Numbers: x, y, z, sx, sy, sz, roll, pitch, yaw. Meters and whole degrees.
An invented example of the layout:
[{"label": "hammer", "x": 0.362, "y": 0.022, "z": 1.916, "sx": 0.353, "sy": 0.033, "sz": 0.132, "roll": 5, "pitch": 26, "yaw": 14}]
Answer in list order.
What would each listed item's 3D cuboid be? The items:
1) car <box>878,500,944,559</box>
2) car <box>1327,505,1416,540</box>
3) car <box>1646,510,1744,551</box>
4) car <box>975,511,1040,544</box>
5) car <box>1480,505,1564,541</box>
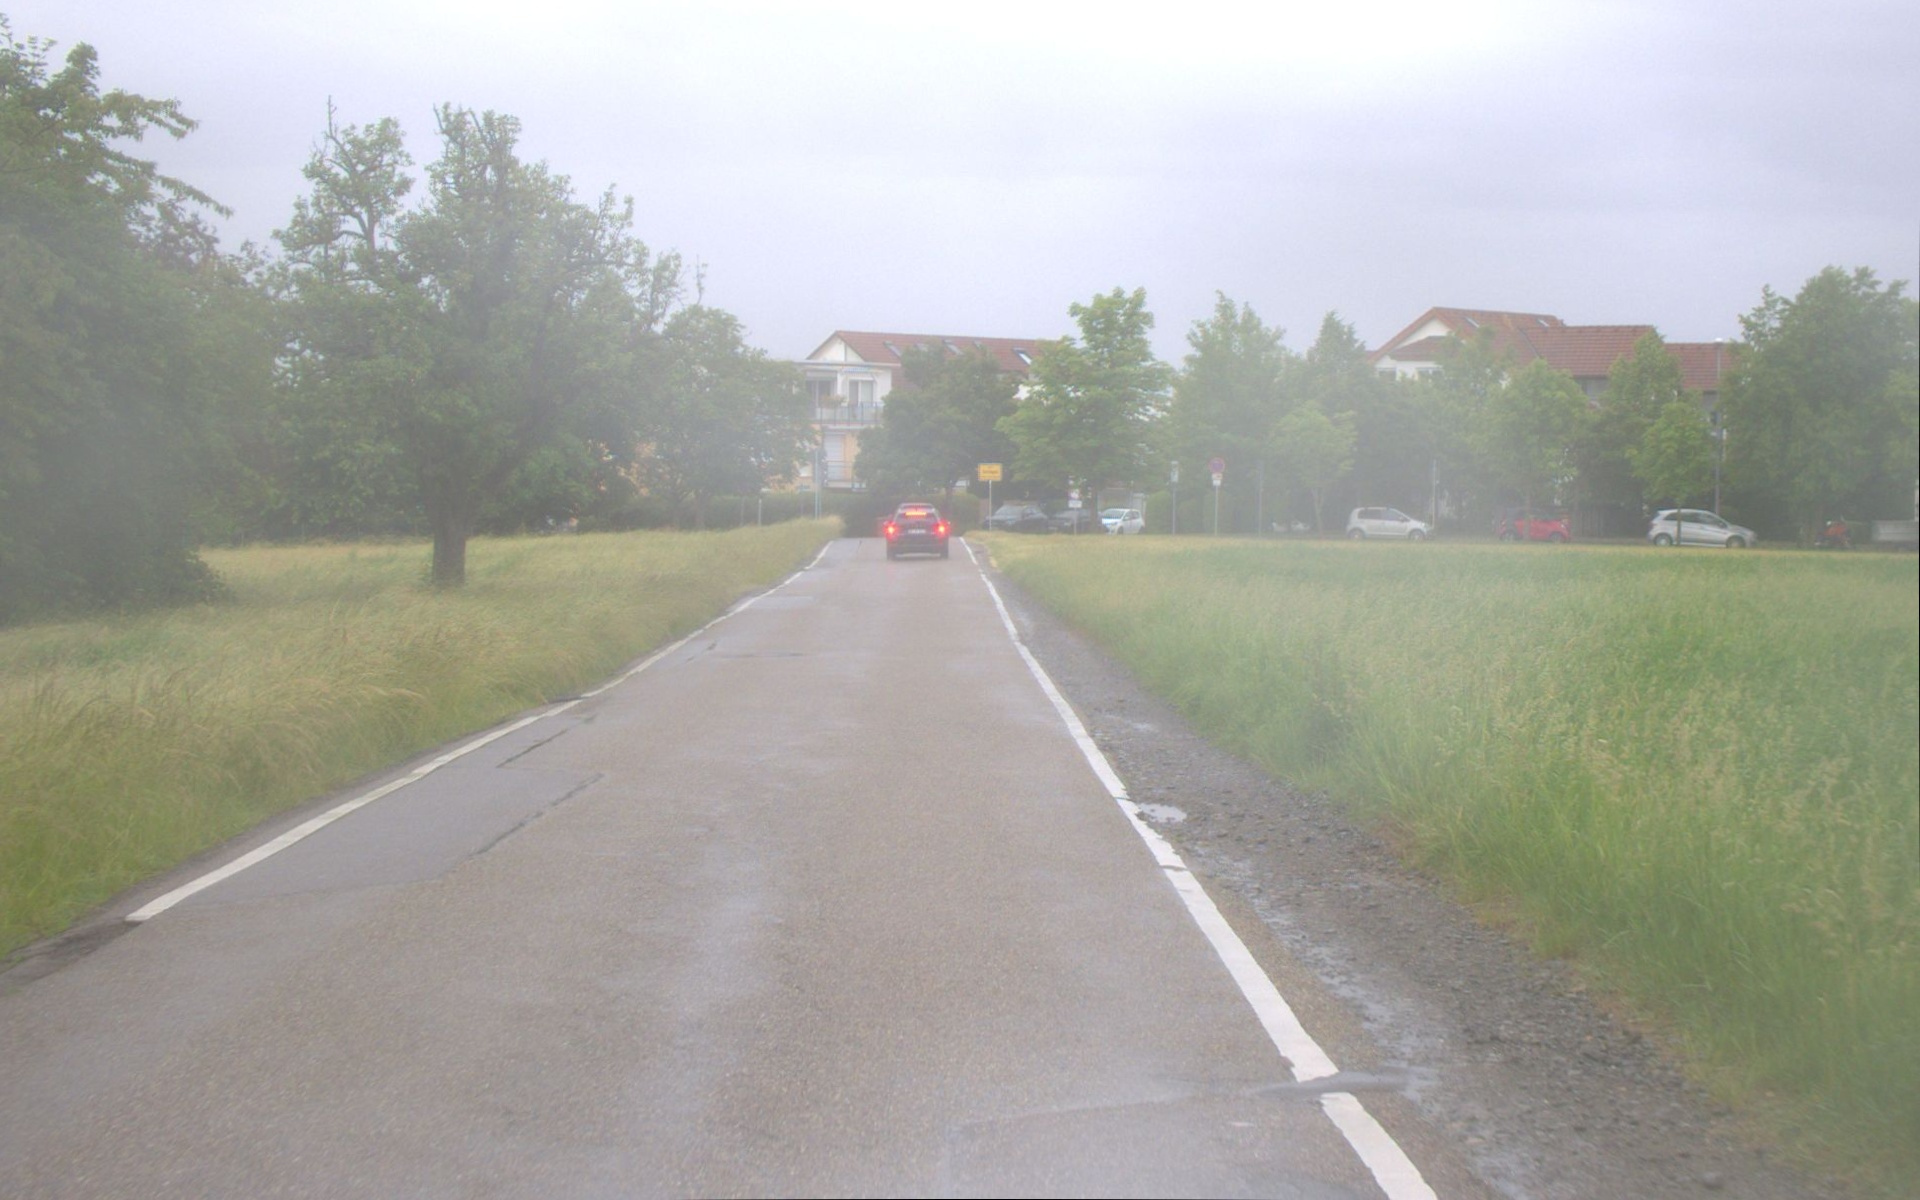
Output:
[{"label": "car", "x": -1.396, "y": -2.019, "z": 99.128, "sx": 1.814, "sy": 1.588, "sz": 4.000, "roll": 0, "pitch": 0, "yaw": 1}, {"label": "car", "x": 16.447, "y": -3.085, "z": 137.276, "sx": 3.392, "sy": 1.366, "sz": 1.547, "roll": 0, "pitch": 0, "yaw": 13}, {"label": "car", "x": 28.672, "y": -2.723, "z": 134.070, "sx": 3.711, "sy": 1.558, "sz": 1.609, "roll": 0, "pitch": 0, "yaw": 13}, {"label": "car", "x": 2.302, "y": -3.488, "z": 166.177, "sx": 1.663, "sy": 1.541, "sz": 3.995, "roll": 0, "pitch": 0, "yaw": 24}, {"label": "car", "x": 22.198, "y": -3.045, "z": 135.753, "sx": 3.194, "sy": 1.366, "sz": 1.571, "roll": 0, "pitch": 0, "yaw": 13}]
